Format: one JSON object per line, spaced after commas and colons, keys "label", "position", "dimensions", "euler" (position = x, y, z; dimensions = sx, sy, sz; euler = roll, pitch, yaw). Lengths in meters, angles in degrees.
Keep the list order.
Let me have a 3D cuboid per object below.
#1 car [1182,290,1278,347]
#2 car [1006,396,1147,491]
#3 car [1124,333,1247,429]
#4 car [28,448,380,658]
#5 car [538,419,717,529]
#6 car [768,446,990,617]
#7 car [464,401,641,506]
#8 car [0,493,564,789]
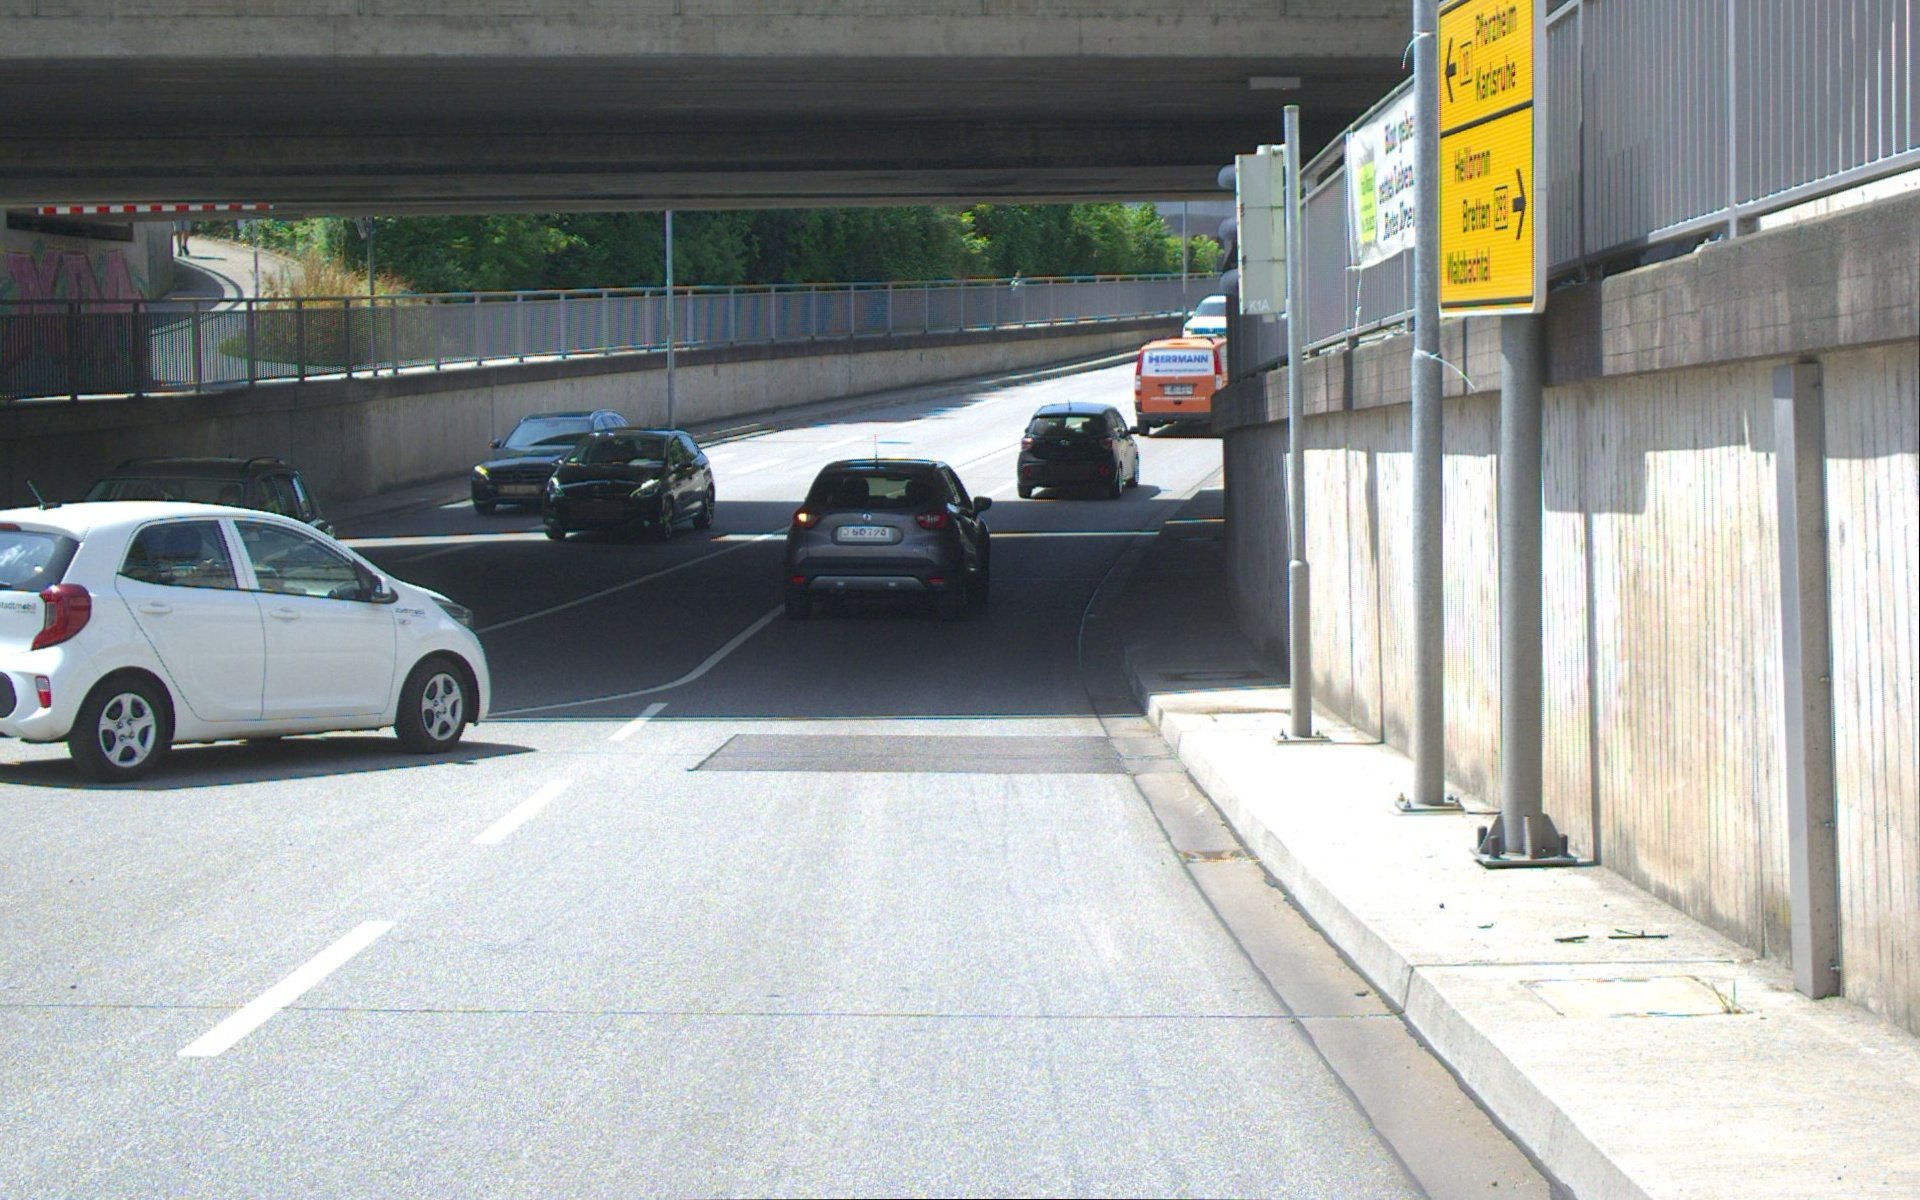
{"label": "car", "position": [7.942, -8.266, 100.754], "dimensions": [1.995, 1.583, 3.998], "euler": [2, 6, 16]}
{"label": "car", "position": [1.962, -2.592, 56.741], "dimensions": [1.994, 1.502, 4.000], "euler": [0, 3, 7]}
{"label": "car", "position": [4.705, -4.525, 71.212], "dimensions": [1.874, 1.925, 4.717], "euler": [1, 3, 12]}
{"label": "car", "position": [-6.387, -0.464, 29.508], "dimensions": [1.993, 1.621, 4.001], "euler": [0, 3, 2]}
{"label": "car", "position": [-4.588, -1.793, 47.974], "dimensions": [1.782, 1.431, 4.000], "euler": [0, 3, 5]}
{"label": "car", "position": [-0.760, -0.751, 35.101], "dimensions": [1.994, 1.583, 4.000], "euler": [0, 3, 3]}
{"label": "car", "position": [-6.354, -2.334, 54.026], "dimensions": [1.994, 1.583, 4.000], "euler": [0, 3, 5]}
{"label": "car", "position": [-4.313, 0.148, 19.899], "dimensions": [1.729, 1.415, 3.992], "euler": [2, 4, 37]}
